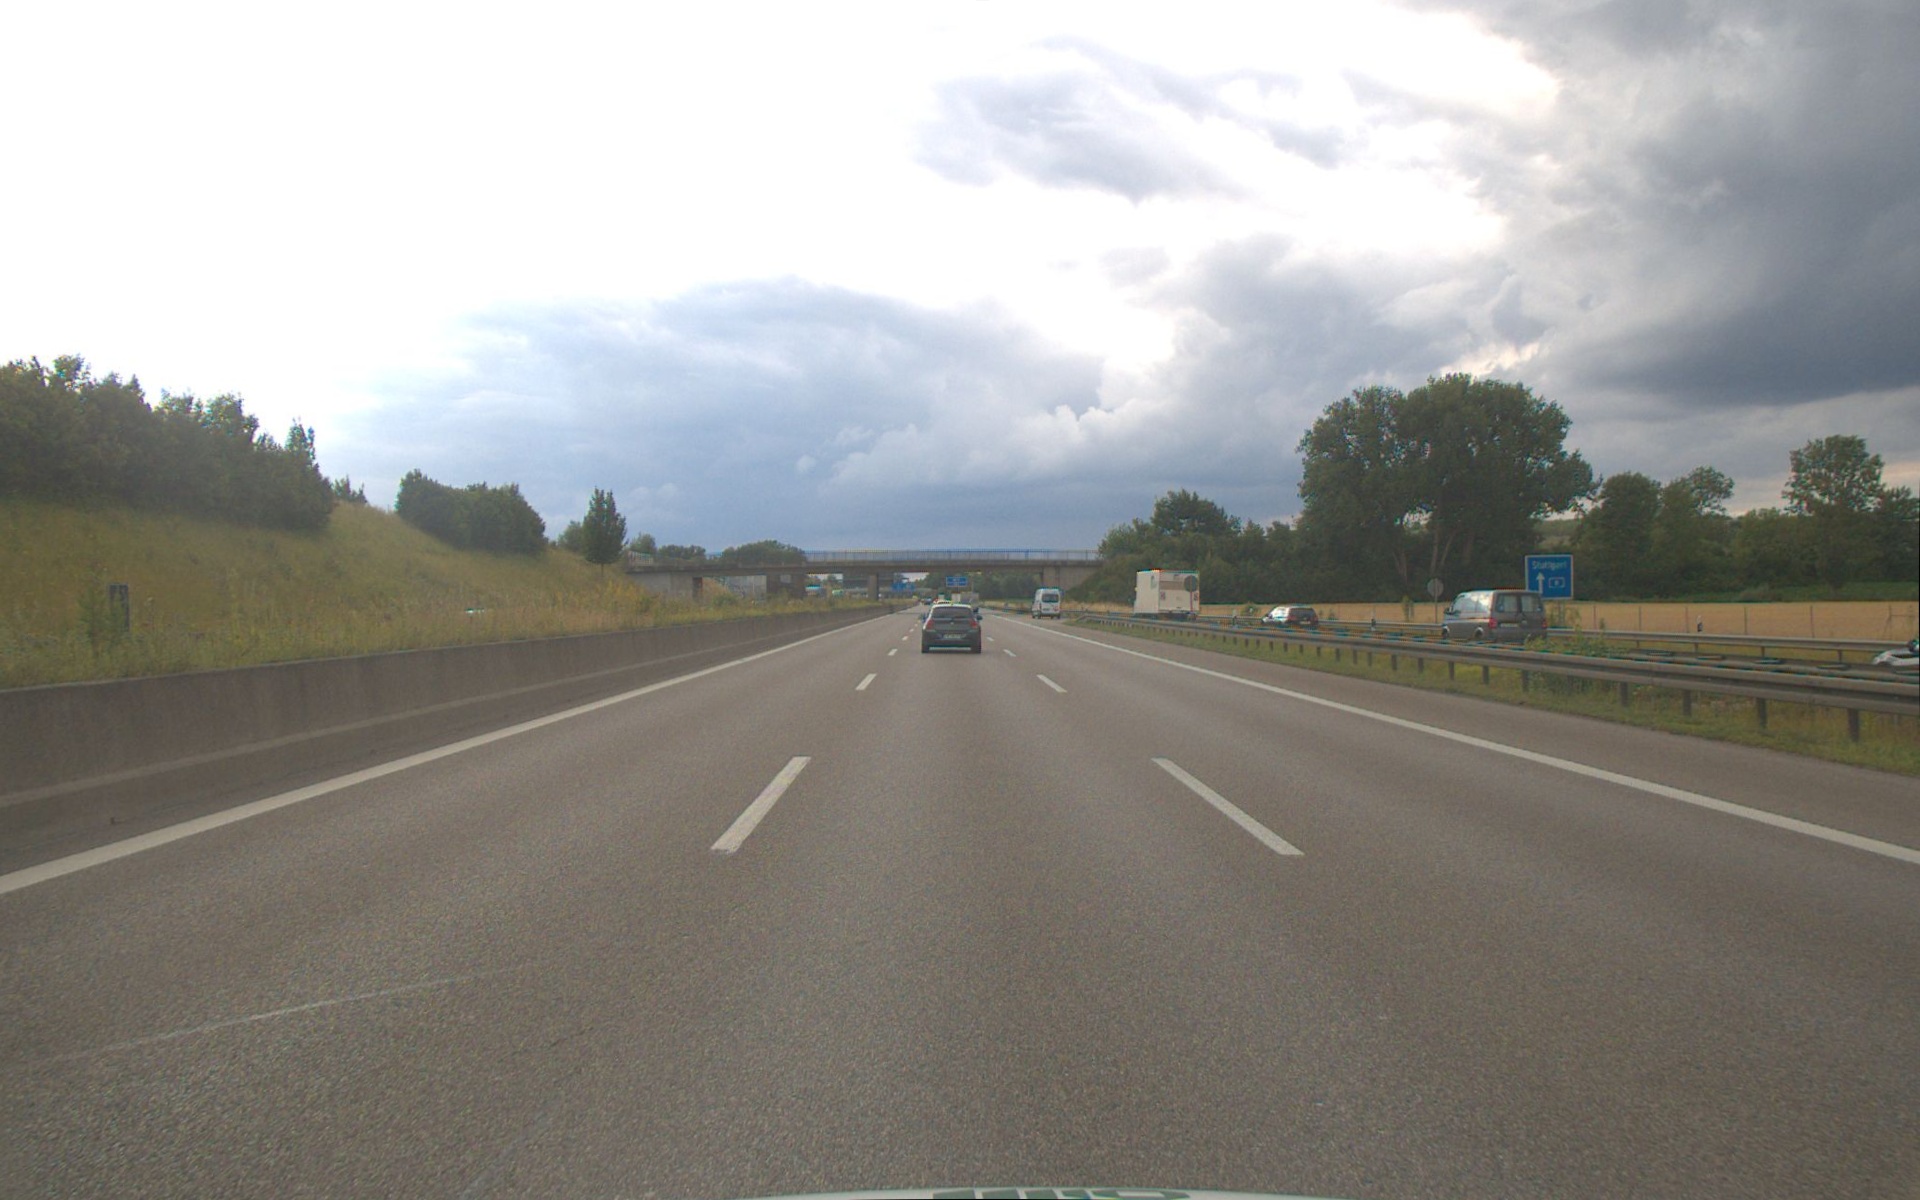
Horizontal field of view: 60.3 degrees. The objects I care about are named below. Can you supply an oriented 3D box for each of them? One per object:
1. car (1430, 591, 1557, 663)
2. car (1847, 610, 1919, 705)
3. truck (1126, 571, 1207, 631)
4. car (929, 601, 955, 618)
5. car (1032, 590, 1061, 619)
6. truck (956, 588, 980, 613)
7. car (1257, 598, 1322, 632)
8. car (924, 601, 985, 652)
[{"bbox_3d":[16.333,0.792,50.931,2.101,2.099,4.954,0,0,-3],"label":"car"},{"bbox_3d":[16.174,0.938,26.036,1.716,1.510,4.589,1,0,-4],"label":"car"},{"bbox_3d":[12.835,0.080,103.781,3.045,3.531,8.879,1,0,-6],"label":"truck"},{"bbox_3d":[-1.452,0.783,131.972,1.953,1.321,3.999,-1,0,-2],"label":"car"},{"bbox_3d":[7.818,0.409,149.862,2.176,2.613,6.255,0,0,-1],"label":"car"},{"bbox_3d":[0.948,0.040,208.708,2.655,3.016,12.443,1,0,-1],"label":"truck"},{"bbox_3d":[16.003,0.708,80.584,1.879,1.577,4.920,-1,0,-3],"label":"car"},{"bbox_3d":[-0.186,0.763,49.132,1.708,1.413,3.999,1,0,-1],"label":"car"}]
